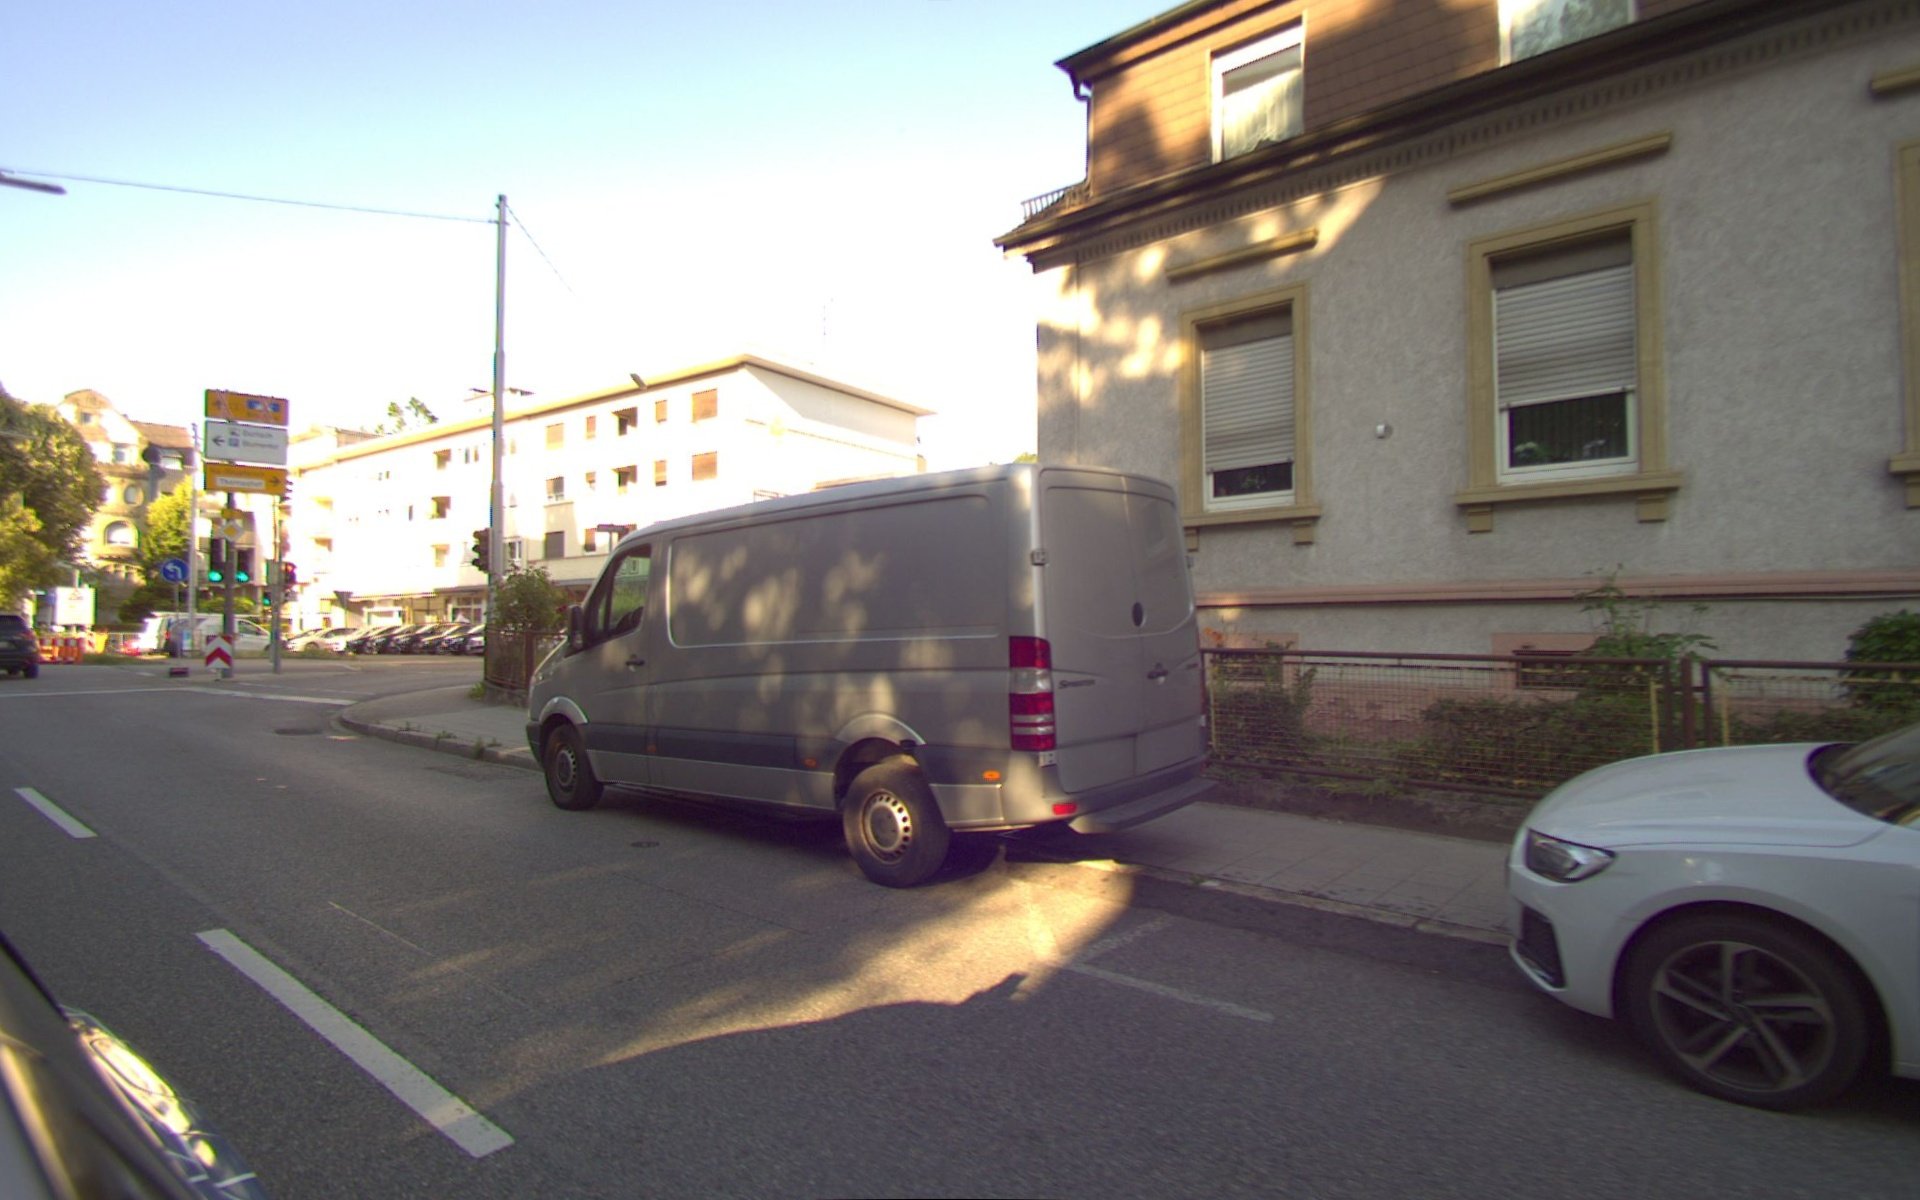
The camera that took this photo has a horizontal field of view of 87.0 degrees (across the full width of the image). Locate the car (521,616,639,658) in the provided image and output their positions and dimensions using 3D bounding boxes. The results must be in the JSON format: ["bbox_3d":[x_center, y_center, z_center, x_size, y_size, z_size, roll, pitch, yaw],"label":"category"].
[{"bbox_3d":[-16.109,1.558,42.944,4.258,1.623,2.004,-1,-2,-39],"label":"car"}]

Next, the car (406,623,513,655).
[{"bbox_3d":[-24.409,1.876,49.470,1.998,1.409,4.270,-3,-2,39],"label":"car"}]

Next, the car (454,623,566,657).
[{"bbox_3d":[-20.402,1.796,45.949,4.259,1.409,2.004,-1,-2,-39],"label":"car"}]

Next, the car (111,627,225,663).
[{"bbox_3d":[-38.535,2.167,49.317,1.996,1.490,3.956,-2,0,36],"label":"car"}]

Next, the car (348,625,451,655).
[{"bbox_3d":[-28.968,2.039,52.392,1.998,1.409,4.270,-3,-2,39],"label":"car"}]

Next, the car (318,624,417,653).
[{"bbox_3d":[-32.483,2.111,55.532,1.998,1.409,4.270,-3,-2,39],"label":"car"}]

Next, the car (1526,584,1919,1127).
[{"bbox_3d":[3.937,0.690,2.863,3.820,1.514,1.685,-2,-1,40],"label":"car"}]

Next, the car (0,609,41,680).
[{"bbox_3d":[-24.445,1.126,25.147,4.281,1.661,1.933,-3,-2,42],"label":"car"}]

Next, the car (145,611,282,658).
[{"bbox_3d":[-33.991,1.555,46.189,2.113,1.979,4.626,-2,-1,35],"label":"car"}]

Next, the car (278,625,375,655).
[{"bbox_3d":[-36.124,2.260,57.791,1.998,1.522,4.270,-3,-2,39],"label":"car"}]

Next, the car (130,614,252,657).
[{"bbox_3d":[-36.352,1.669,47.931,1.998,1.866,4.270,-3,-2,40],"label":"car"}]

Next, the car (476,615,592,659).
[{"bbox_3d":[-18.558,1.580,44.160,4.259,1.728,2.004,-1,-2,-39],"label":"car"}]

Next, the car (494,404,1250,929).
[{"bbox_3d":[-1.125,0.369,7.559,6.012,2.479,2.046,-2,-1,42],"label":"car"}]

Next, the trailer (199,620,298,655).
[{"bbox_3d":[-31.095,1.624,44.299,1.571,1.407,3.226,-2,-1,35],"label":"trailer"}]
